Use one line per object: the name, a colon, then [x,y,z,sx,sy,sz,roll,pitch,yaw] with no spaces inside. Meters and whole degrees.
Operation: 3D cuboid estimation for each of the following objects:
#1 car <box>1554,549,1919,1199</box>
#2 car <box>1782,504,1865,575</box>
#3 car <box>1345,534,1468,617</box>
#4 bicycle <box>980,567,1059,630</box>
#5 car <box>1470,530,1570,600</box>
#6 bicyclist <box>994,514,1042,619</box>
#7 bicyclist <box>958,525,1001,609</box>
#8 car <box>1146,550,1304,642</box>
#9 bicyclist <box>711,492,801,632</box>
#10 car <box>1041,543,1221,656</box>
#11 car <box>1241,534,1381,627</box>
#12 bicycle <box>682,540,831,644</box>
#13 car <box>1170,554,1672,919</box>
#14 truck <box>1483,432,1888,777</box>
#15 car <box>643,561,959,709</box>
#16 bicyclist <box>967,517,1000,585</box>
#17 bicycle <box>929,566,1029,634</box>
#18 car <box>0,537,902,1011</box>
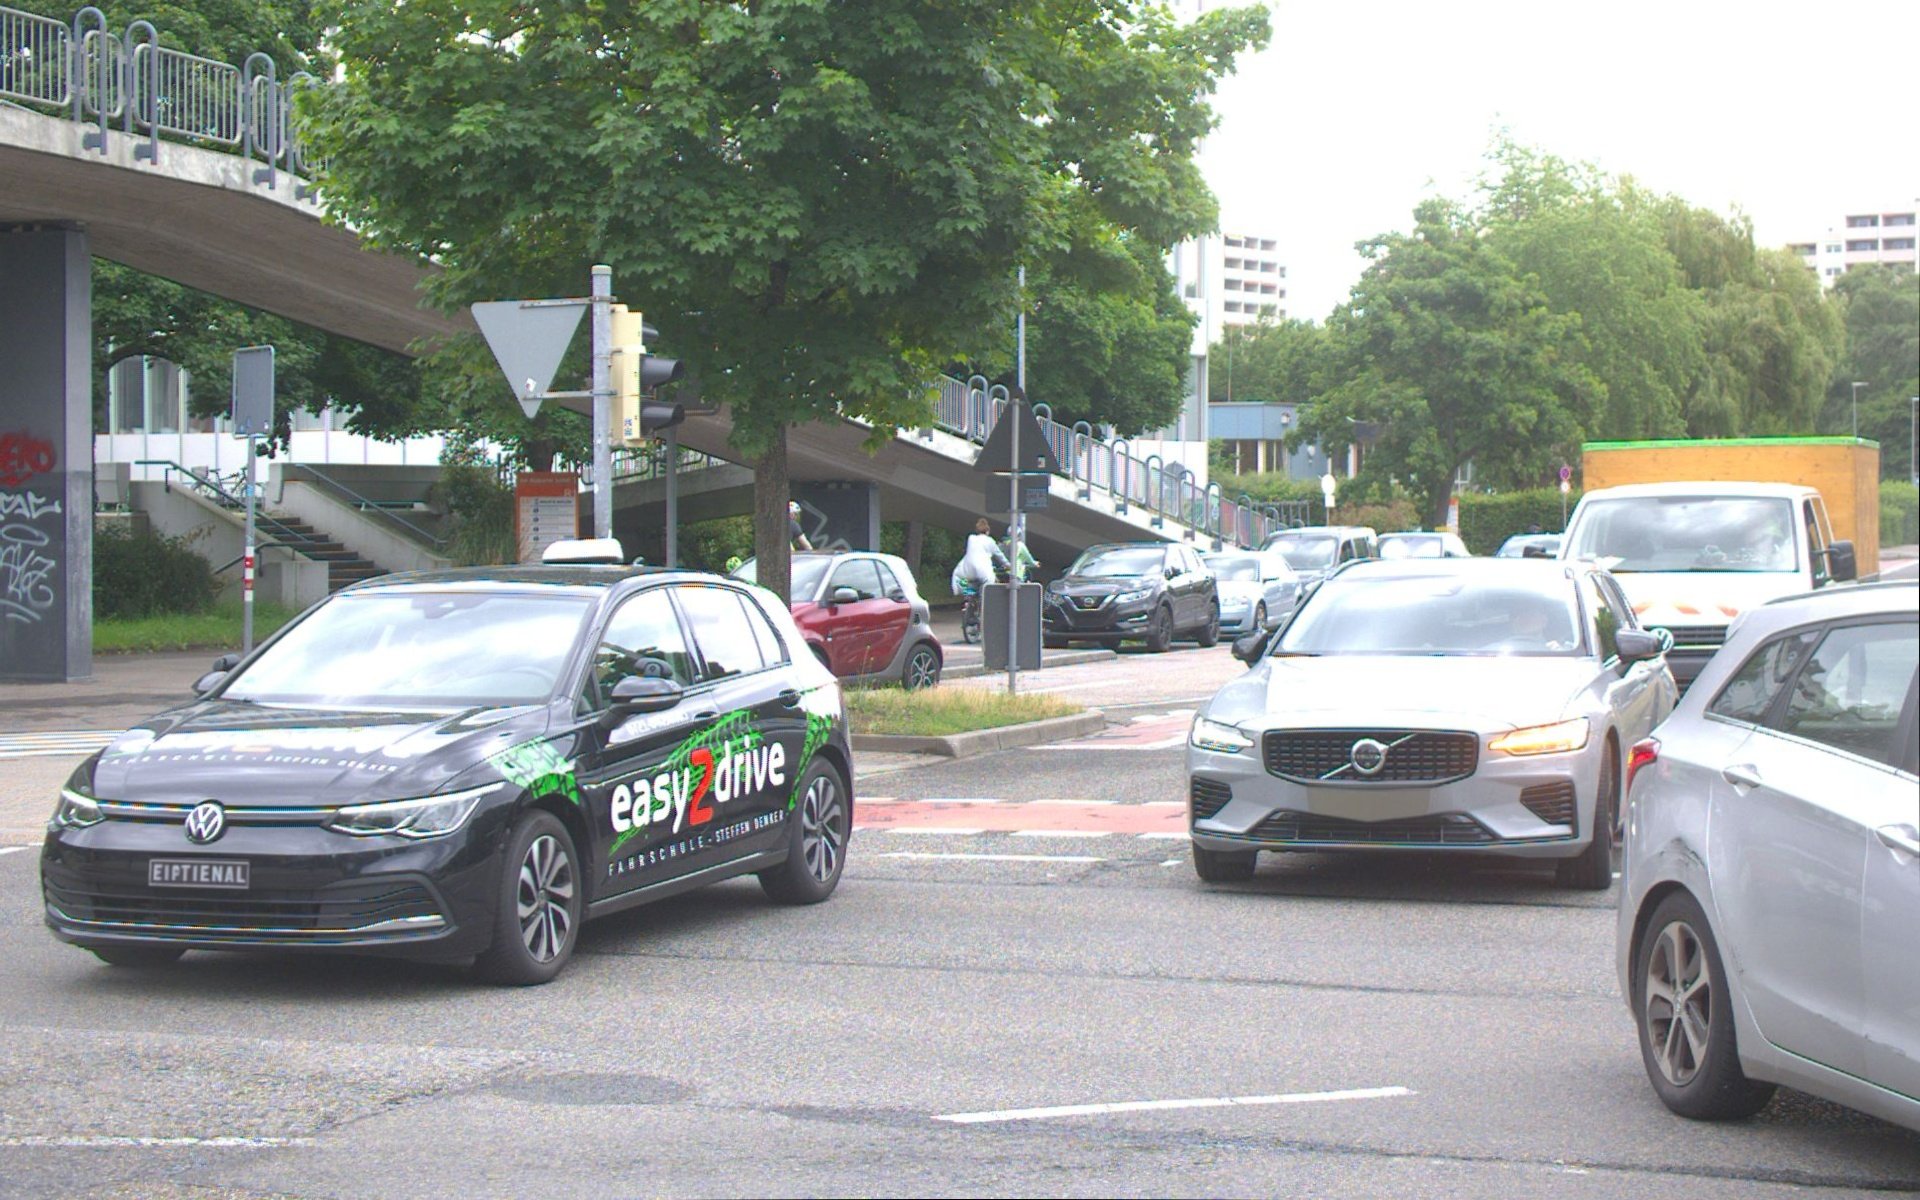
car: [3.023,0.643,7.873,1.788,1.514,4.326,0,0,-12]
car: [25.213,-1.789,100.312,1.995,2.007,3.996,1,1,19]
car: [8.818,-0.507,67.627,1.673,1.546,3.997,1,2,18]
bicycle: [0.946,-0.034,54.187,0.527,0.946,1.706,1,2,28]
car: [13.051,-0.840,79.992,1.673,1.546,3.997,1,2,18]
bicyclist: [0.918,-0.531,54.032,0.566,1.639,0.530,1,1,29]
bicyclist: [0.286,-0.486,50.144,0.405,1.177,0.377,8,4,19]
car: [4.350,-0.097,55.882,1.673,1.382,3.892,1,2,18]
bicyclist: [-2.801,-0.536,47.317,0.857,1.886,1.126,1,2,20]
car: [2.559,-0.041,50.691,1.673,1.546,3.888,1,2,18]
car: [6.243,-0.367,60.860,1.673,1.546,3.759,1,2,18]
bicycle: [-2.780,-0.132,47.349,0.857,1.310,3.227,1,2,20]
car: [2.358,0.521,16.473,1.898,1.415,4.733,1,1,14]
truck: [5.404,-0.058,24.946,2.157,2.191,5.835,1,2,19]
car: [-1.535,0.311,33.920,1.562,1.341,2.966,1,2,38]
bicyclist: [0.424,-0.878,61.742,0.431,1.213,0.567,1,0,17]
bicycle: [0.284,-0.007,50.522,0.763,0.946,1.951,1,2,23]
car: [-1.770,0.512,13.308,1.771,1.472,4.386,1,2,18]
